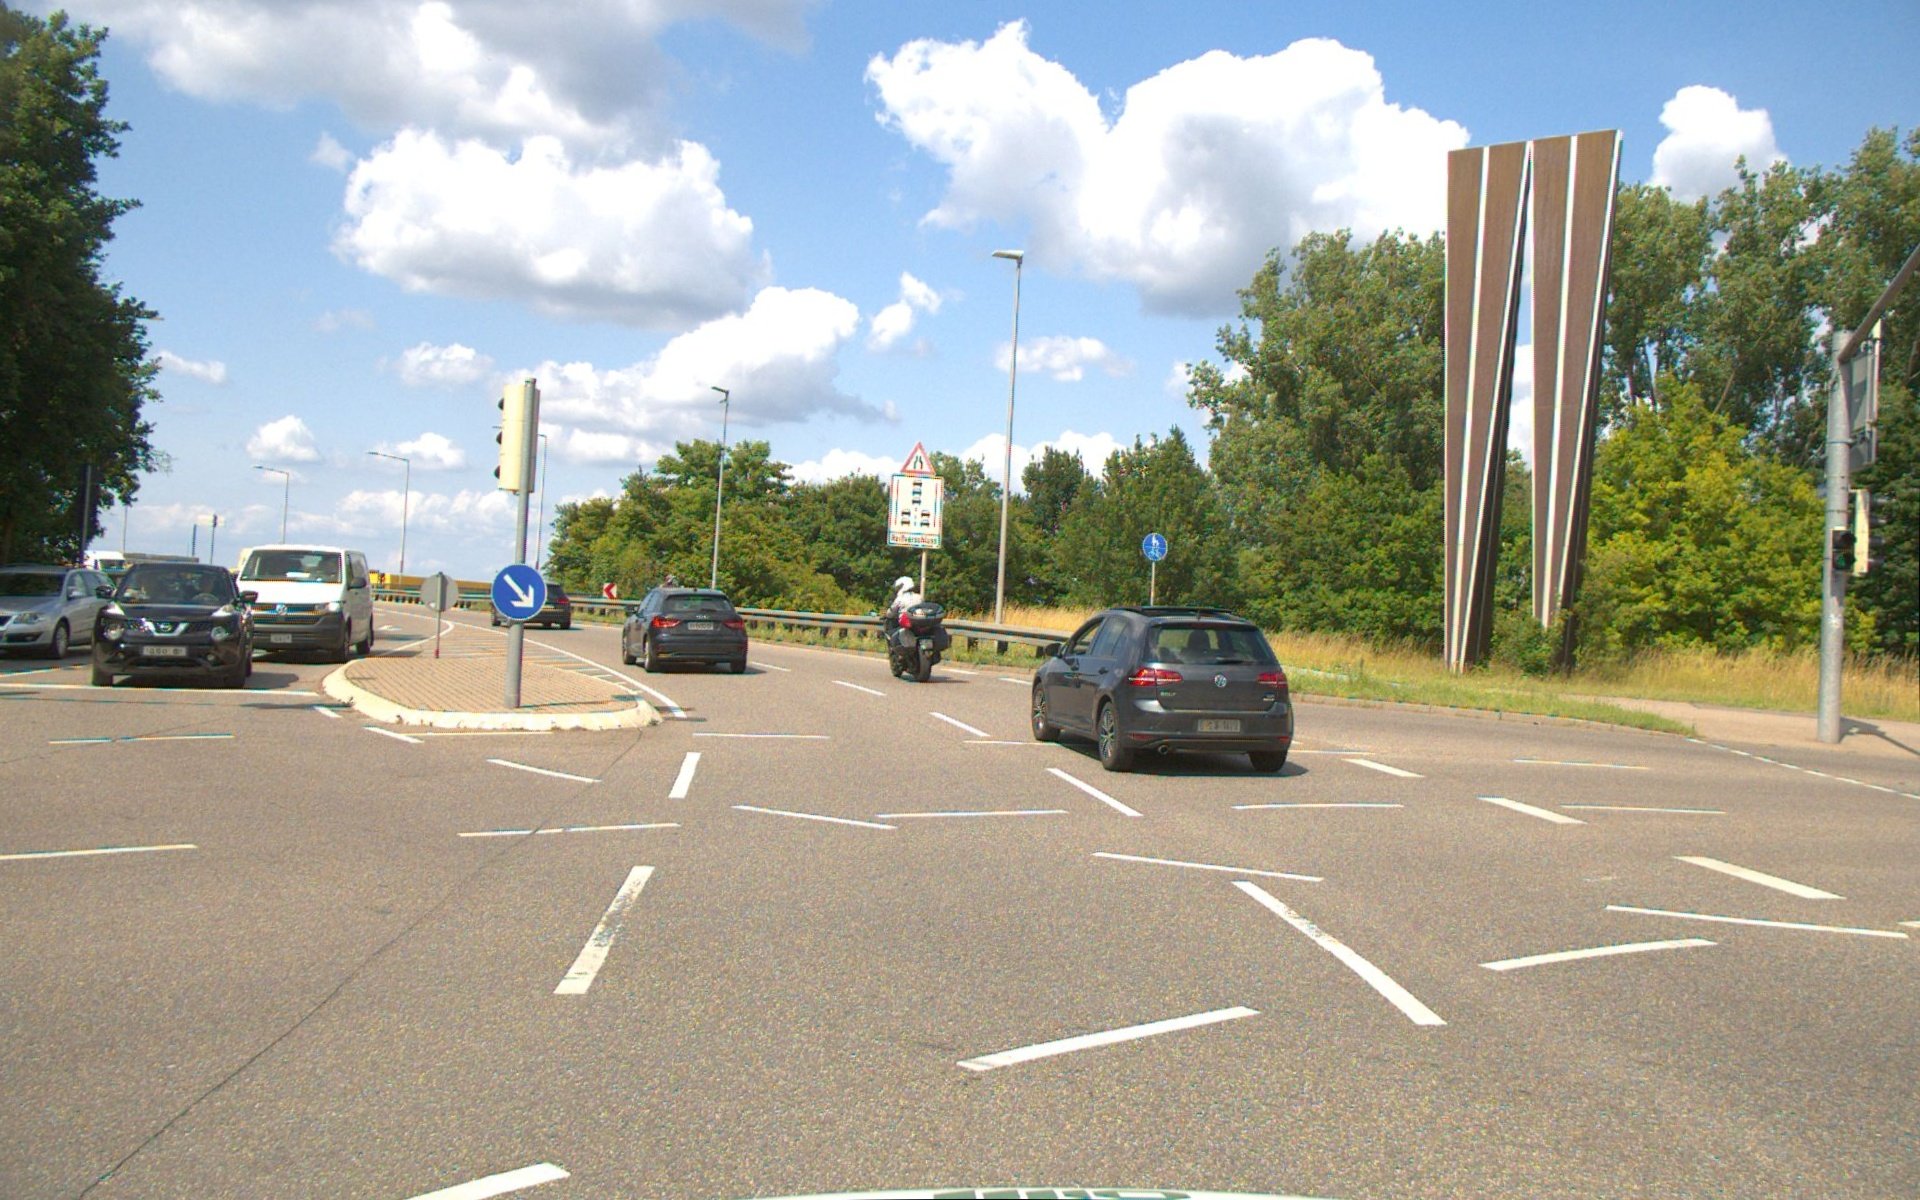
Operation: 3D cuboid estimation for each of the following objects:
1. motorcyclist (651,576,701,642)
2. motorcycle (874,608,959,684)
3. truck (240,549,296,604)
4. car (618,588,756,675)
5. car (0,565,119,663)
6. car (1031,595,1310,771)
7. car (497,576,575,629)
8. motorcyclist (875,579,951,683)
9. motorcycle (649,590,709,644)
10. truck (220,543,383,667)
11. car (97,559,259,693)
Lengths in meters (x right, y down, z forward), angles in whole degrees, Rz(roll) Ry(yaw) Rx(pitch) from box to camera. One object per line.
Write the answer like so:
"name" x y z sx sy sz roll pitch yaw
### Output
"motorcyclist" -7.235 0.233 42.137 0.954 1.624 1.116 3 -1 -25
"motorcycle" -0.743 0.730 27.088 0.776 1.152 2.388 2 0 -16
"truck" -34.844 -1.172 83.189 1.971 2.666 6.046 0 1 -28
"car" -4.840 0.537 28.974 1.658 1.412 3.715 1 -1 -21
"car" -15.424 0.202 27.613 1.656 1.504 4.689 1 0 -17
"car" 1.940 0.748 16.385 1.613 1.505 3.862 2 -1 -11
"car" -13.001 0.071 50.619 1.621 1.505 3.842 2 -1 -25
"motorcyclist" -0.787 0.502 27.341 0.950 1.648 1.120 2 -1 -16
"motorcycle" -7.121 0.416 41.884 0.876 1.269 2.381 2 0 -25
"truck" -11.473 0.067 29.175 1.927 1.946 5.350 2 0 -14
"car" -10.190 0.300 21.761 1.674 1.584 3.796 2 0 -22
